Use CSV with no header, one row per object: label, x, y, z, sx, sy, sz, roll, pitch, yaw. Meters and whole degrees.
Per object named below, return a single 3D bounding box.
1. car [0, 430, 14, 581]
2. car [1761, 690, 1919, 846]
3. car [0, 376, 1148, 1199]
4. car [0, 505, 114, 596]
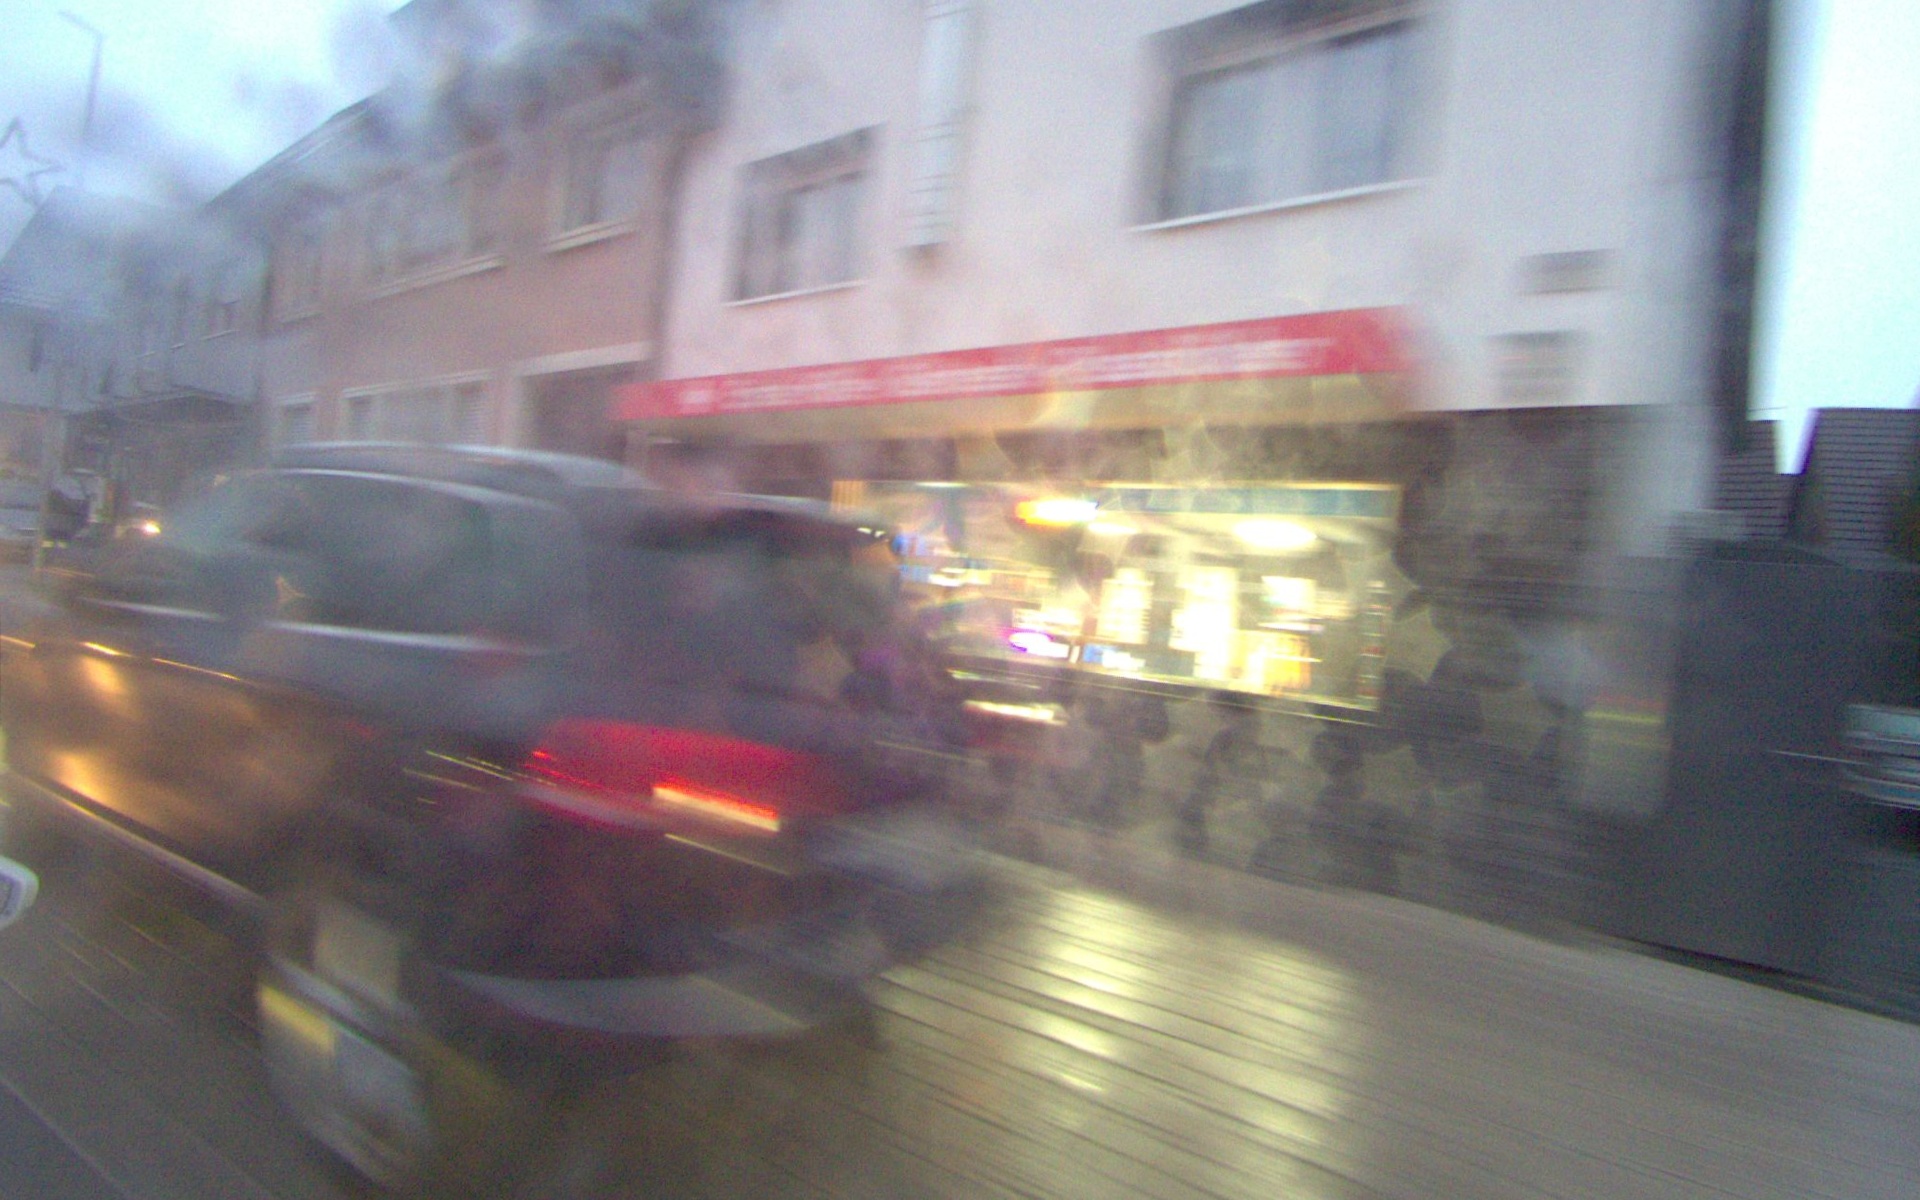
car,-11.643,-0.916,10.486,4.782,1.984,1.971,7,0,40
car,10.981,1.931,11.989,1.633,1.410,3.990,7,1,32
car,-1.826,0.333,3.679,4.388,1.682,1.976,7,0,33
car,-19.247,-1.089,20.787,3.605,1.581,1.734,6,1,34
